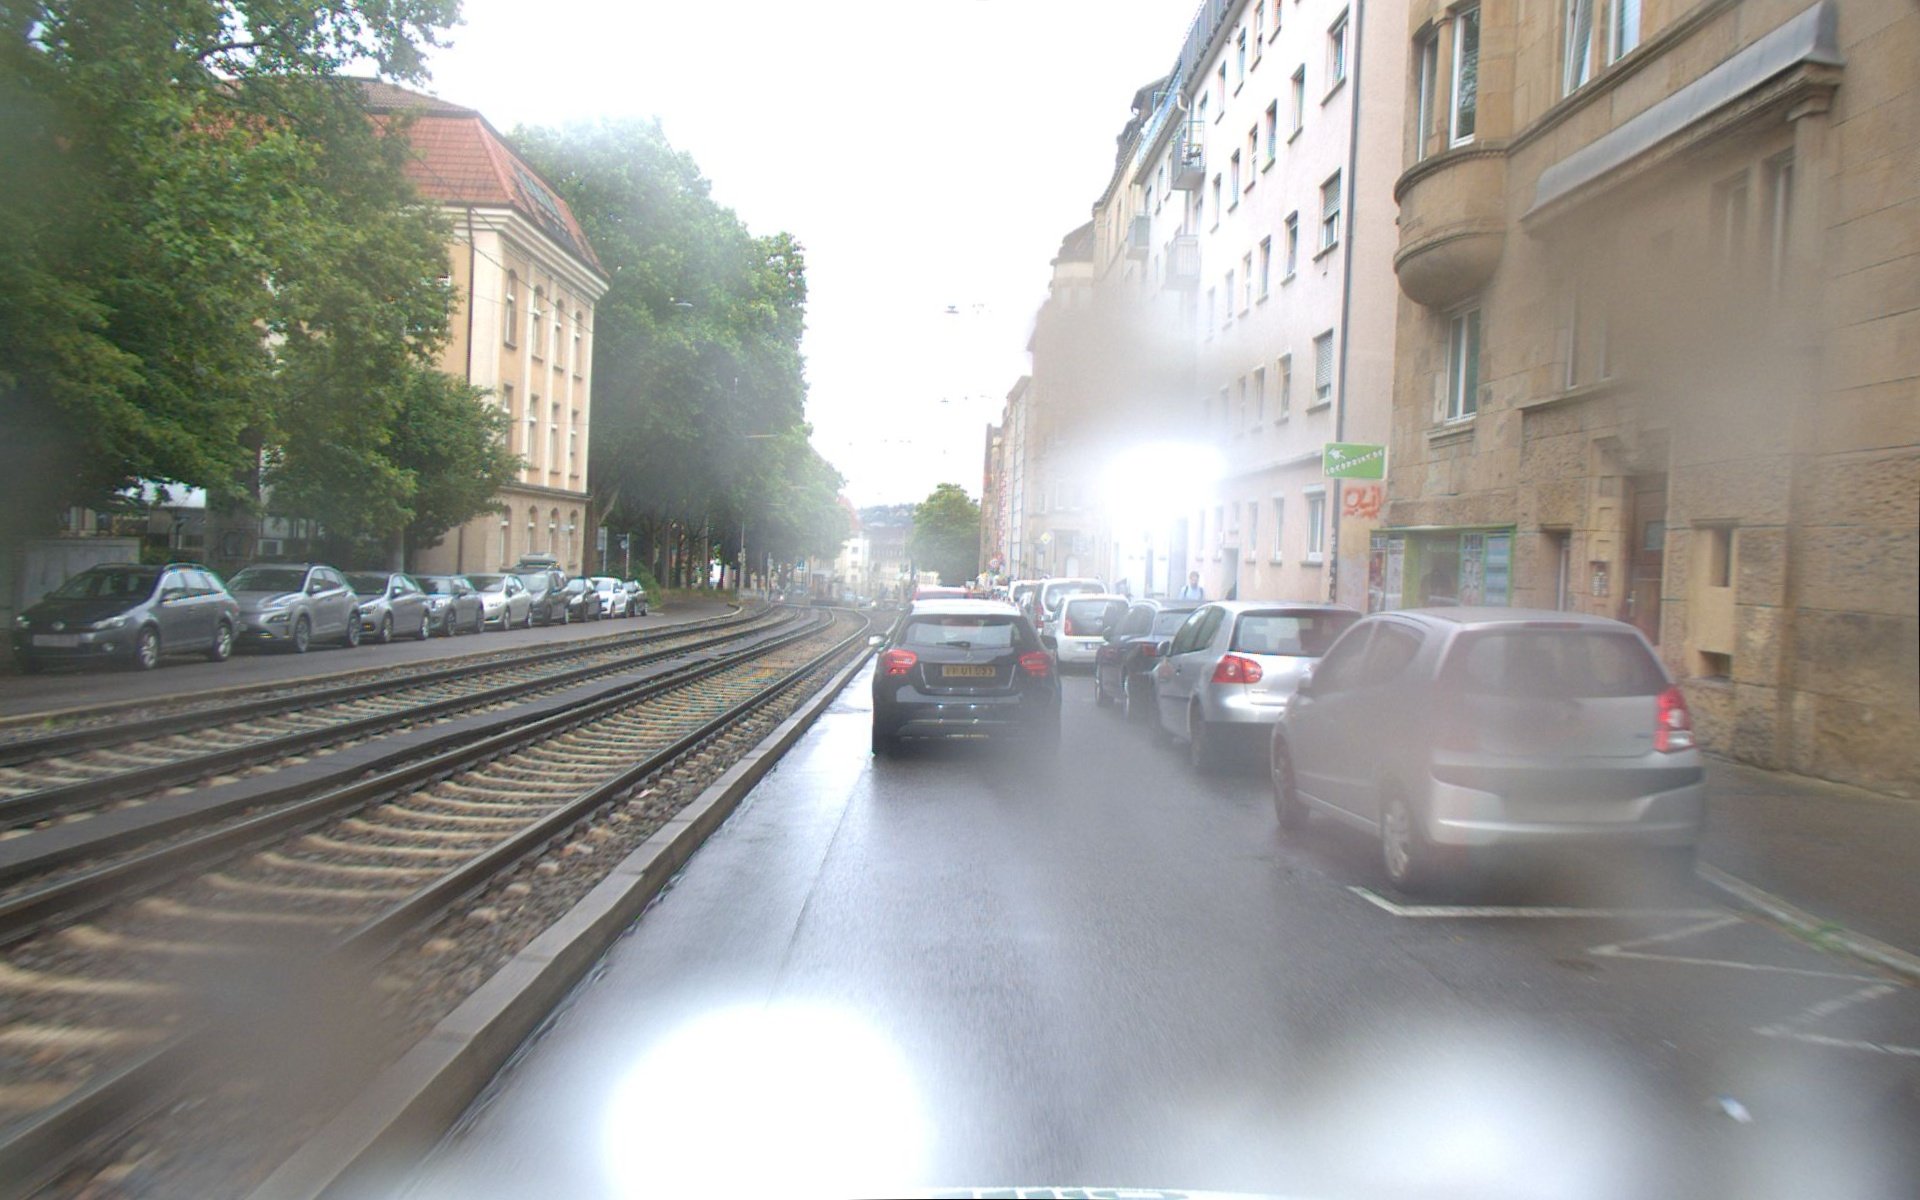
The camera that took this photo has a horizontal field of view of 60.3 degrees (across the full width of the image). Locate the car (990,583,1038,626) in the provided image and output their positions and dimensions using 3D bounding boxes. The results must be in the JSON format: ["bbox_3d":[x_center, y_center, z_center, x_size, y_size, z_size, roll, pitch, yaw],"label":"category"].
[{"bbox_3d":[2.064,0.150,63.978,1.659,1.556,4.000,2,0,0],"label":"car"}]

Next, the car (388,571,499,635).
[{"bbox_3d":[-12.339,0.050,39.727,1.508,1.438,3.952,-1,0,-2],"label":"car"}]

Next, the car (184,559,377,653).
[{"bbox_3d":[-12.195,0.076,29.992,1.719,1.563,4.541,-1,0,-2],"label":"car"}]

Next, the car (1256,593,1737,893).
[{"bbox_3d":[2.993,0.704,10.028,1.558,1.459,3.682,0,0,-3],"label":"car"}]

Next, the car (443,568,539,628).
[{"bbox_3d":[-12.574,-0.070,44.573,1.508,1.531,4.153,-1,0,-2],"label":"car"}]

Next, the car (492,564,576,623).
[{"bbox_3d":[-12.649,-0.209,49.300,1.544,1.672,4.070,-1,0,-2],"label":"car"}]

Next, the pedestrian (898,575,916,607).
[{"bbox_3d":[-3.397,-0.610,106.412,1.115,2.033,1.171,0,1,-5],"label":"pedestrian"}]

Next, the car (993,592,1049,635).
[{"bbox_3d":[2.144,0.451,58.943,1.683,1.370,4.460,2,0,-1],"label":"car"}]

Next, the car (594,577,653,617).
[{"bbox_3d":[-12.992,-0.132,64.035,1.581,1.454,3.851,1,1,-1],"label":"car"}]

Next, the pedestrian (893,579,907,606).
[{"bbox_3d":[-3.701,-0.481,101.941,0.789,1.662,0.892,0,1,0],"label":"pedestrian"}]

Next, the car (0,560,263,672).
[{"bbox_3d":[-12.088,0.193,24.454,1.812,1.489,4.548,-1,0,-3],"label":"car"}]

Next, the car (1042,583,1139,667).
[{"bbox_3d":[2.448,0.437,31.773,1.538,1.487,3.599,1,0,0],"label":"car"}]

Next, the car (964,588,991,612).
[{"bbox_3d":[1.239,-0.044,118.420,1.790,1.646,3.864,0,1,-1],"label":"car"}]

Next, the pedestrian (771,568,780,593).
[{"bbox_3d":[-13.768,-1.449,123.347,0.523,1.784,0.607,3,0,-1],"label":"pedestrian"}]

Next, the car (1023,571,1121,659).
[{"bbox_3d":[2.388,0.292,36.216,1.754,1.796,4.211,0,1,-1],"label":"car"}]

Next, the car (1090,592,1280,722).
[{"bbox_3d":[2.732,0.637,20.946,1.636,1.434,4.310,1,1,-2],"label":"car"}]

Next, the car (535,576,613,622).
[{"bbox_3d":[-12.784,-0.057,54.998,1.640,1.438,4.010,-1,0,0],"label":"car"}]

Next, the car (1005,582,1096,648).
[{"bbox_3d":[2.187,0.324,41.199,1.833,1.481,4.901,1,1,-2],"label":"car"}]

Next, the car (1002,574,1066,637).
[{"bbox_3d":[2.221,0.138,50.621,1.791,1.781,4.467,1,1,1],"label":"car"}]

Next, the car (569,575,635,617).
[{"bbox_3d":[-12.840,-0.158,59.512,1.469,1.415,3.987,-1,0,0],"label":"car"}]

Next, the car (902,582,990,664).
[{"bbox_3d":[-0.302,0.450,35.424,1.749,1.608,3.999,1,0,-1],"label":"car"}]

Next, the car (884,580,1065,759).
[{"bbox_3d":[0.086,0.592,16.190,1.548,1.531,3.573,1,0,-1],"label":"car"}]

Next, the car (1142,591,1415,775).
[{"bbox_3d":[2.782,0.661,15.286,1.634,1.459,3.955,0,0,-2],"label":"car"}]

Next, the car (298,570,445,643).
[{"bbox_3d":[-12.361,0.107,34.994,1.719,1.438,4.152,-1,0,-2],"label":"car"}]

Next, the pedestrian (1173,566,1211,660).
[{"bbox_3d":[4.473,0.242,31.920,0.595,1.794,0.688,0,0,-2],"label":"pedestrian"}]

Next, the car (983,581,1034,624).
[{"bbox_3d":[2.025,0.081,69.681,1.731,1.697,4.330,2,0,-3],"label":"car"}]

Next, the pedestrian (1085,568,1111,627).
[{"bbox_3d":[4.501,-0.083,53.855,0.730,1.865,1.039,-1,0,0],"label":"pedestrian"}]
